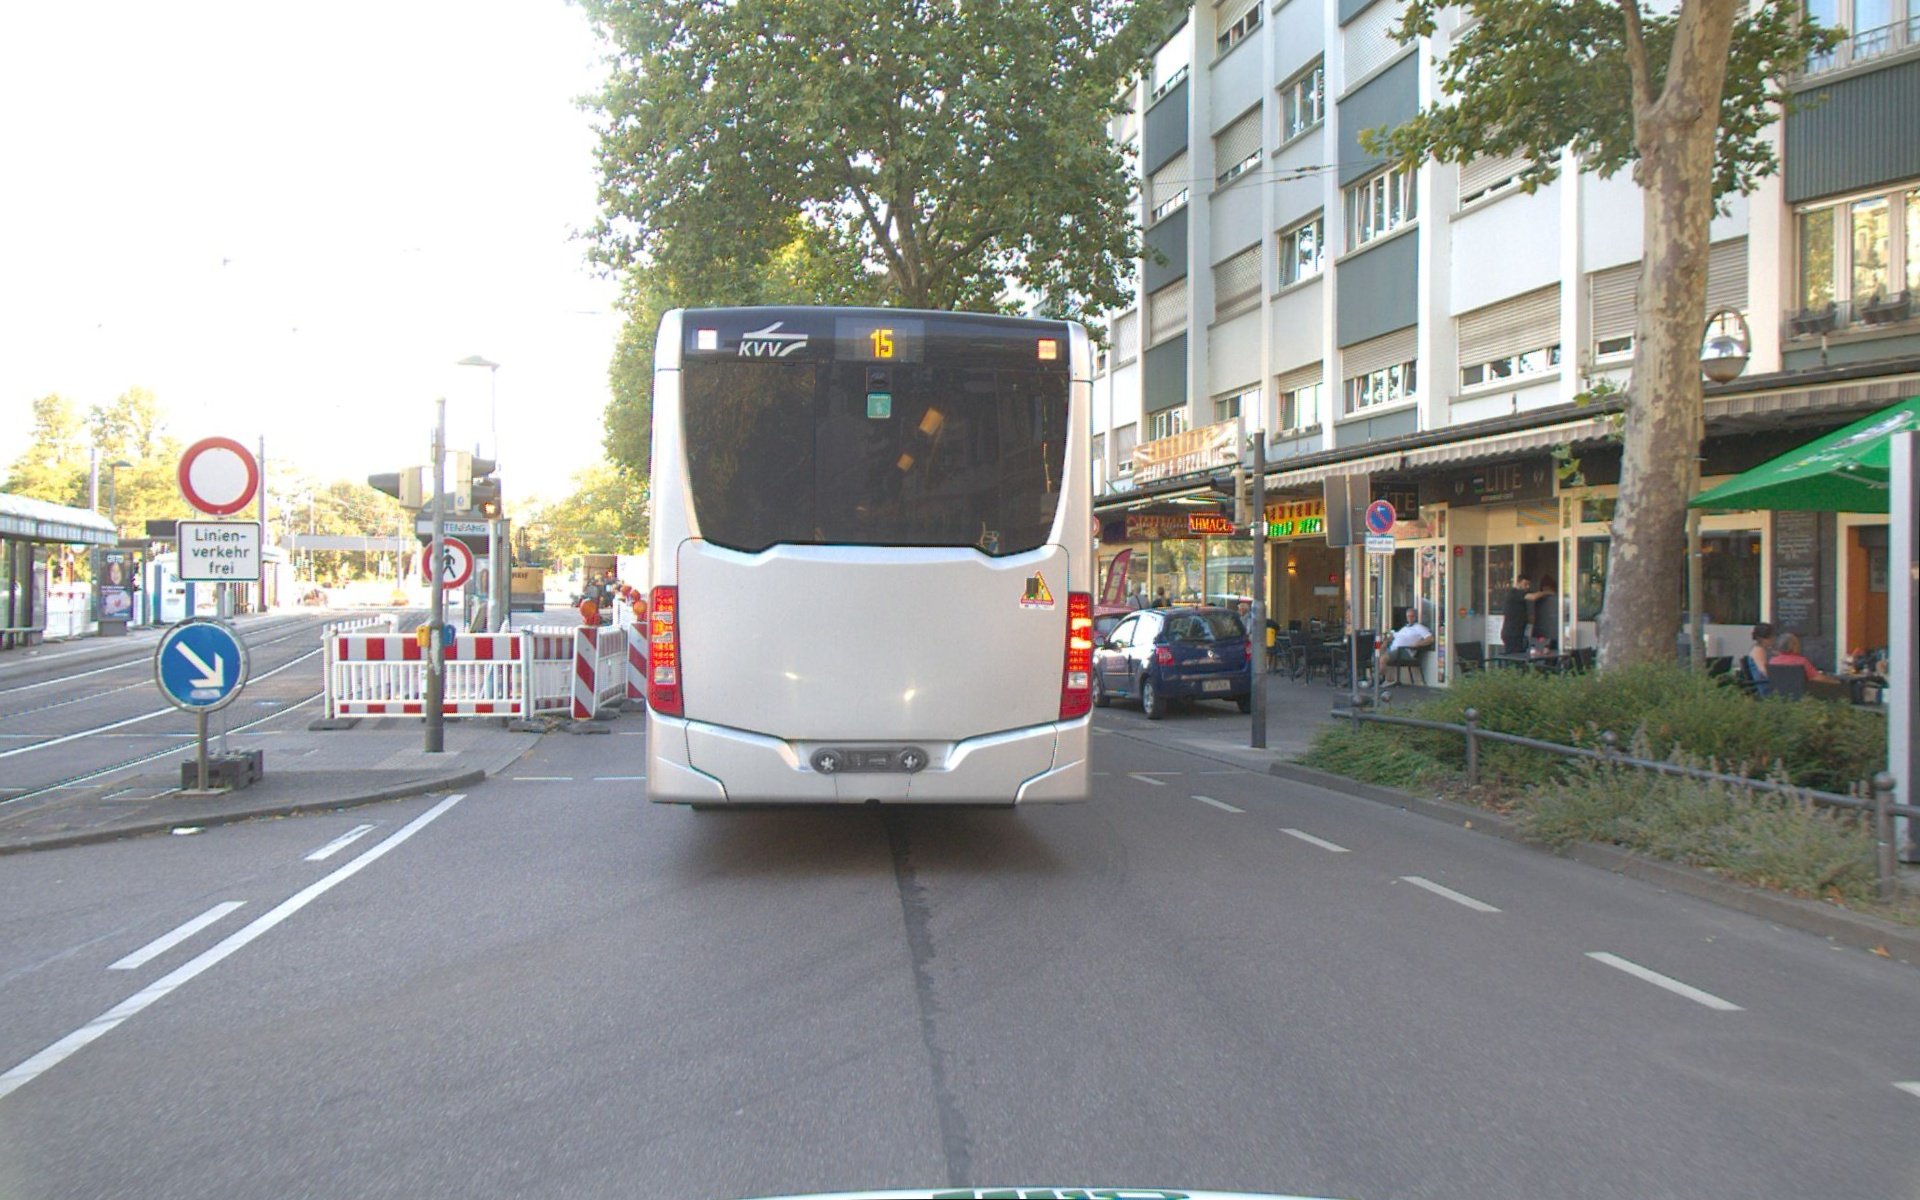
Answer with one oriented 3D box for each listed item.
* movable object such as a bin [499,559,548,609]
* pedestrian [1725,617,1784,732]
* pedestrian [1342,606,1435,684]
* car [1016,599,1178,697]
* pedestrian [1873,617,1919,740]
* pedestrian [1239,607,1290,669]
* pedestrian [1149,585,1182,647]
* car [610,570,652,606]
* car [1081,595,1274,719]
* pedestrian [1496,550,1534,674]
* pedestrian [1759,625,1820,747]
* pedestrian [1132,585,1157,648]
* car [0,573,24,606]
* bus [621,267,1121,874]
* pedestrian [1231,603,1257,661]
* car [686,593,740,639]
[{"bbox_3d":[-23.160,-0.837,87.928,2.452,2.520,5.336,0,0,-14],"label":"movable object such as a bin"},{"bbox_3d":[8.957,0.830,18.653,0.394,1.259,0.447,0,0,-29],"label":"pedestrian"},{"bbox_3d":[6.878,0.711,26.599,1.157,1.218,0.923,0,0,-12],"label":"pedestrian"},{"bbox_3d":[2.236,0.754,27.843,1.635,1.419,3.399,-3,1,-15],"label":"car"},{"bbox_3d":[9.874,0.814,17.296,0.390,1.259,0.452,0,0,0],"label":"pedestrian"},{"bbox_3d":[5.670,0.704,30.845,0.693,1.128,0.764,0,0,-12],"label":"pedestrian"},{"bbox_3d":[4.224,0.324,33.985,0.582,1.278,0.391,0,0,-11],"label":"pedestrian"},{"bbox_3d":[-14.329,-0.527,71.908,1.725,1.489,3.988,0,0,-12],"label":"car"},{"bbox_3d":[3.049,0.758,23.864,1.634,1.543,3.401,-3,1,-13],"label":"car"},{"bbox_3d":[7.945,0.166,23.686,0.350,1.748,0.309,2,0,-5],"label":"pedestrian"},{"bbox_3d":[8.809,0.900,17.566,0.445,1.259,0.395,0,0,-30],"label":"pedestrian"},{"bbox_3d":[3.765,0.334,33.729,0.380,1.278,0.391,0,0,-13],"label":"pedestrian"},{"bbox_3d":[-46.719,-0.502,79.908,1.857,1.557,4.184,0,0,-19],"label":"car"},{"bbox_3d":[-0.925,-0.143,13.812,2.606,3.153,10.204,1,0,-5],"label":"bus"},{"bbox_3d":[5.674,0.634,33.060,0.380,1.141,0.391,0,0,-13],"label":"pedestrian"},{"bbox_3d":[-8.424,0.515,56.535,1.723,1.489,3.993,0,0,-8],"label":"car"}]
